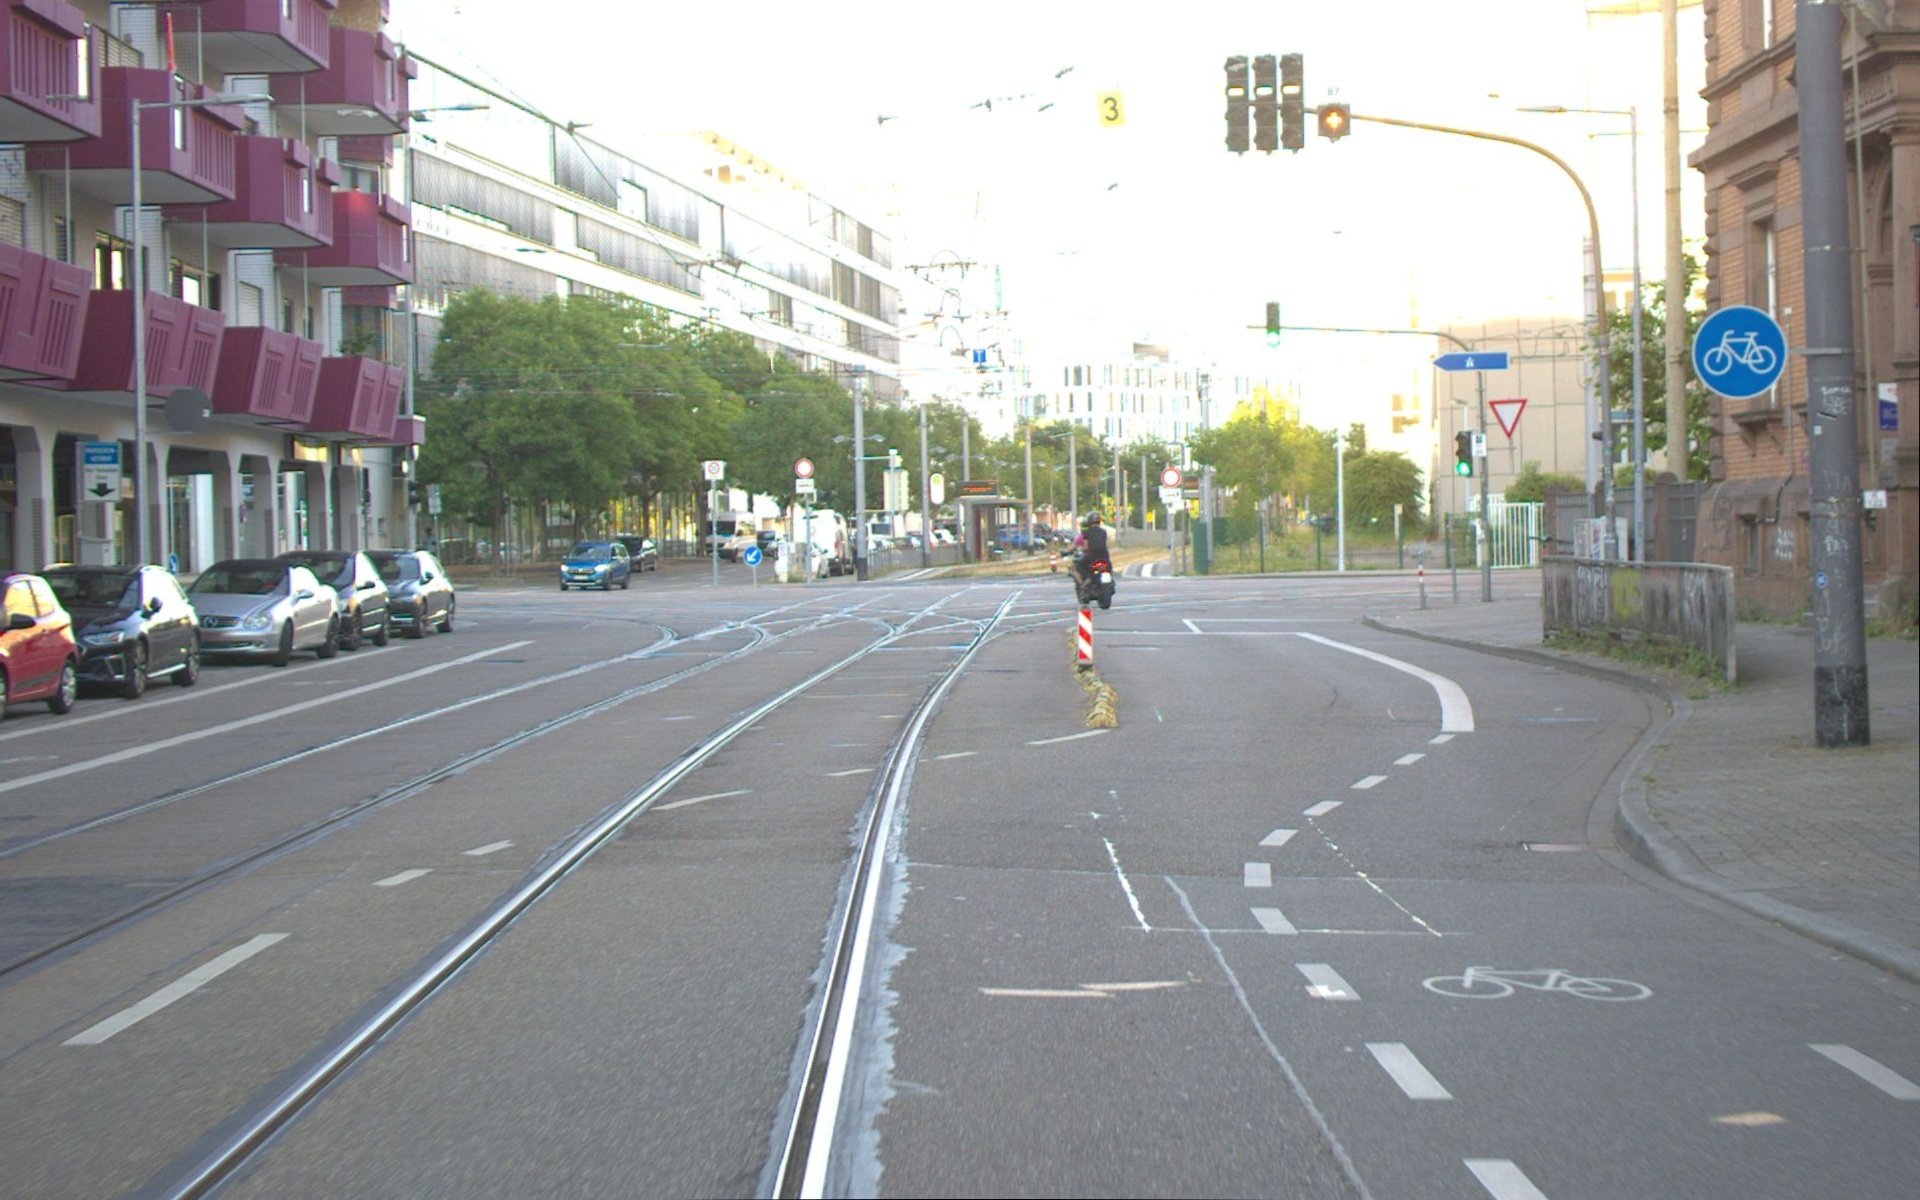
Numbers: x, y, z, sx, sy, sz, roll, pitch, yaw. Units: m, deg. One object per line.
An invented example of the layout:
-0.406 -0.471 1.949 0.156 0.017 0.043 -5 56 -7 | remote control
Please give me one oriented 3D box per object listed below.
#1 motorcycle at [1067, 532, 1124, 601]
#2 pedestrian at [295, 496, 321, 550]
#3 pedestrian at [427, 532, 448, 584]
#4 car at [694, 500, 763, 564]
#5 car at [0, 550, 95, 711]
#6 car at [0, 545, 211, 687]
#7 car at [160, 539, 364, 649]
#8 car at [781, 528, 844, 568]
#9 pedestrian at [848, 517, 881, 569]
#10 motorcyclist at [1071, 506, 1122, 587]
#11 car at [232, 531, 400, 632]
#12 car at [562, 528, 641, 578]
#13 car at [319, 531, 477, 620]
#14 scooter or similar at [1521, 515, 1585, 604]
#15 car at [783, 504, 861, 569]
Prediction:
2.541 -0.639 64.069 0.828 1.235 2.491 -1 1 7 | motorcycle
-20.825 -2.459 109.796 0.547 1.705 0.659 -1 1 17 | pedestrian
-19.649 -1.570 129.211 0.661 1.915 0.548 -2 1 -4 | pedestrian
-11.610 -3.440 172.746 2.202 3.141 6.141 -1 1 8 | car
-9.726 0.256 33.547 1.611 1.474 3.479 1 1 1 | car
-9.966 0.138 39.239 1.993 1.474 4.482 1 1 -2 | car
-9.616 -0.121 47.708 1.691 1.409 4.677 1 1 2 | car
-5.575 -1.966 130.230 1.683 1.434 4.125 -1 1 7 | car
-3.794 -2.262 136.721 1.039 2.023 0.984 -2 1 -20 | pedestrian
2.543 -1.002 64.119 0.828 1.468 1.207 -1 1 7 | motorcyclist
-10.003 -0.314 53.644 1.788 1.503 4.200 0 1 1 | car
-12.549 -1.664 120.479 1.683 1.694 4.238 -1 1 9 | car
-9.697 -0.456 59.695 1.852 1.451 5.086 -1 1 1 | car
8.744 -0.602 50.723 0.641 1.261 1.583 -3 1 1 | scooter or similar
-5.417 -2.529 135.880 2.461 2.474 5.808 -1 1 4 | car
